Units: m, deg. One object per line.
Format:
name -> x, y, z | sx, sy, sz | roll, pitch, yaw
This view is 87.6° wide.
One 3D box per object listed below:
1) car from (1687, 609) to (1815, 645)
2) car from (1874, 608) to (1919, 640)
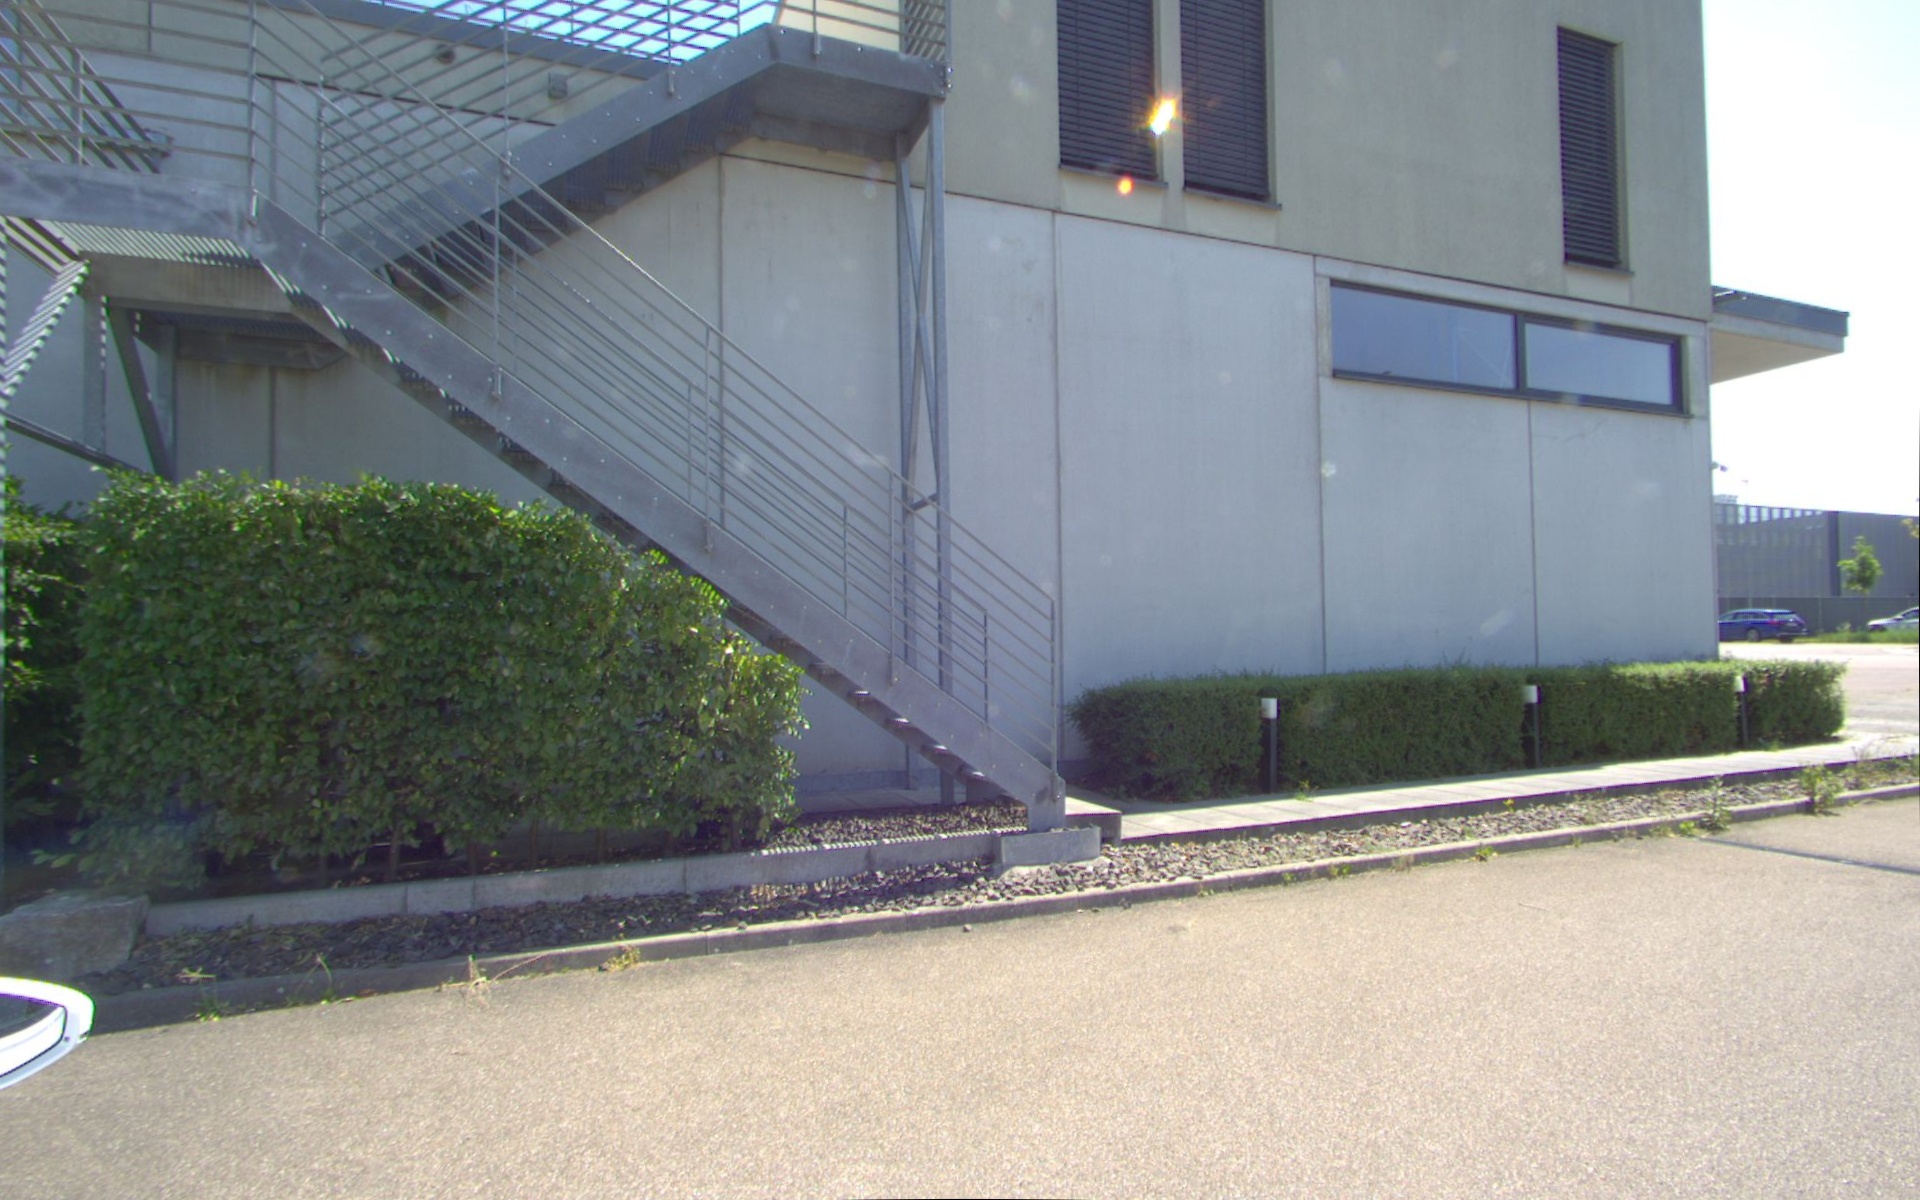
car -> 34.505, 1.205, 43.844 | 1.716, 1.433, 4.448 | 1, -2, -8
car -> 44.311, 1.097, 45.165 | 1.716, 1.433, 4.448 | 1, -2, -9
